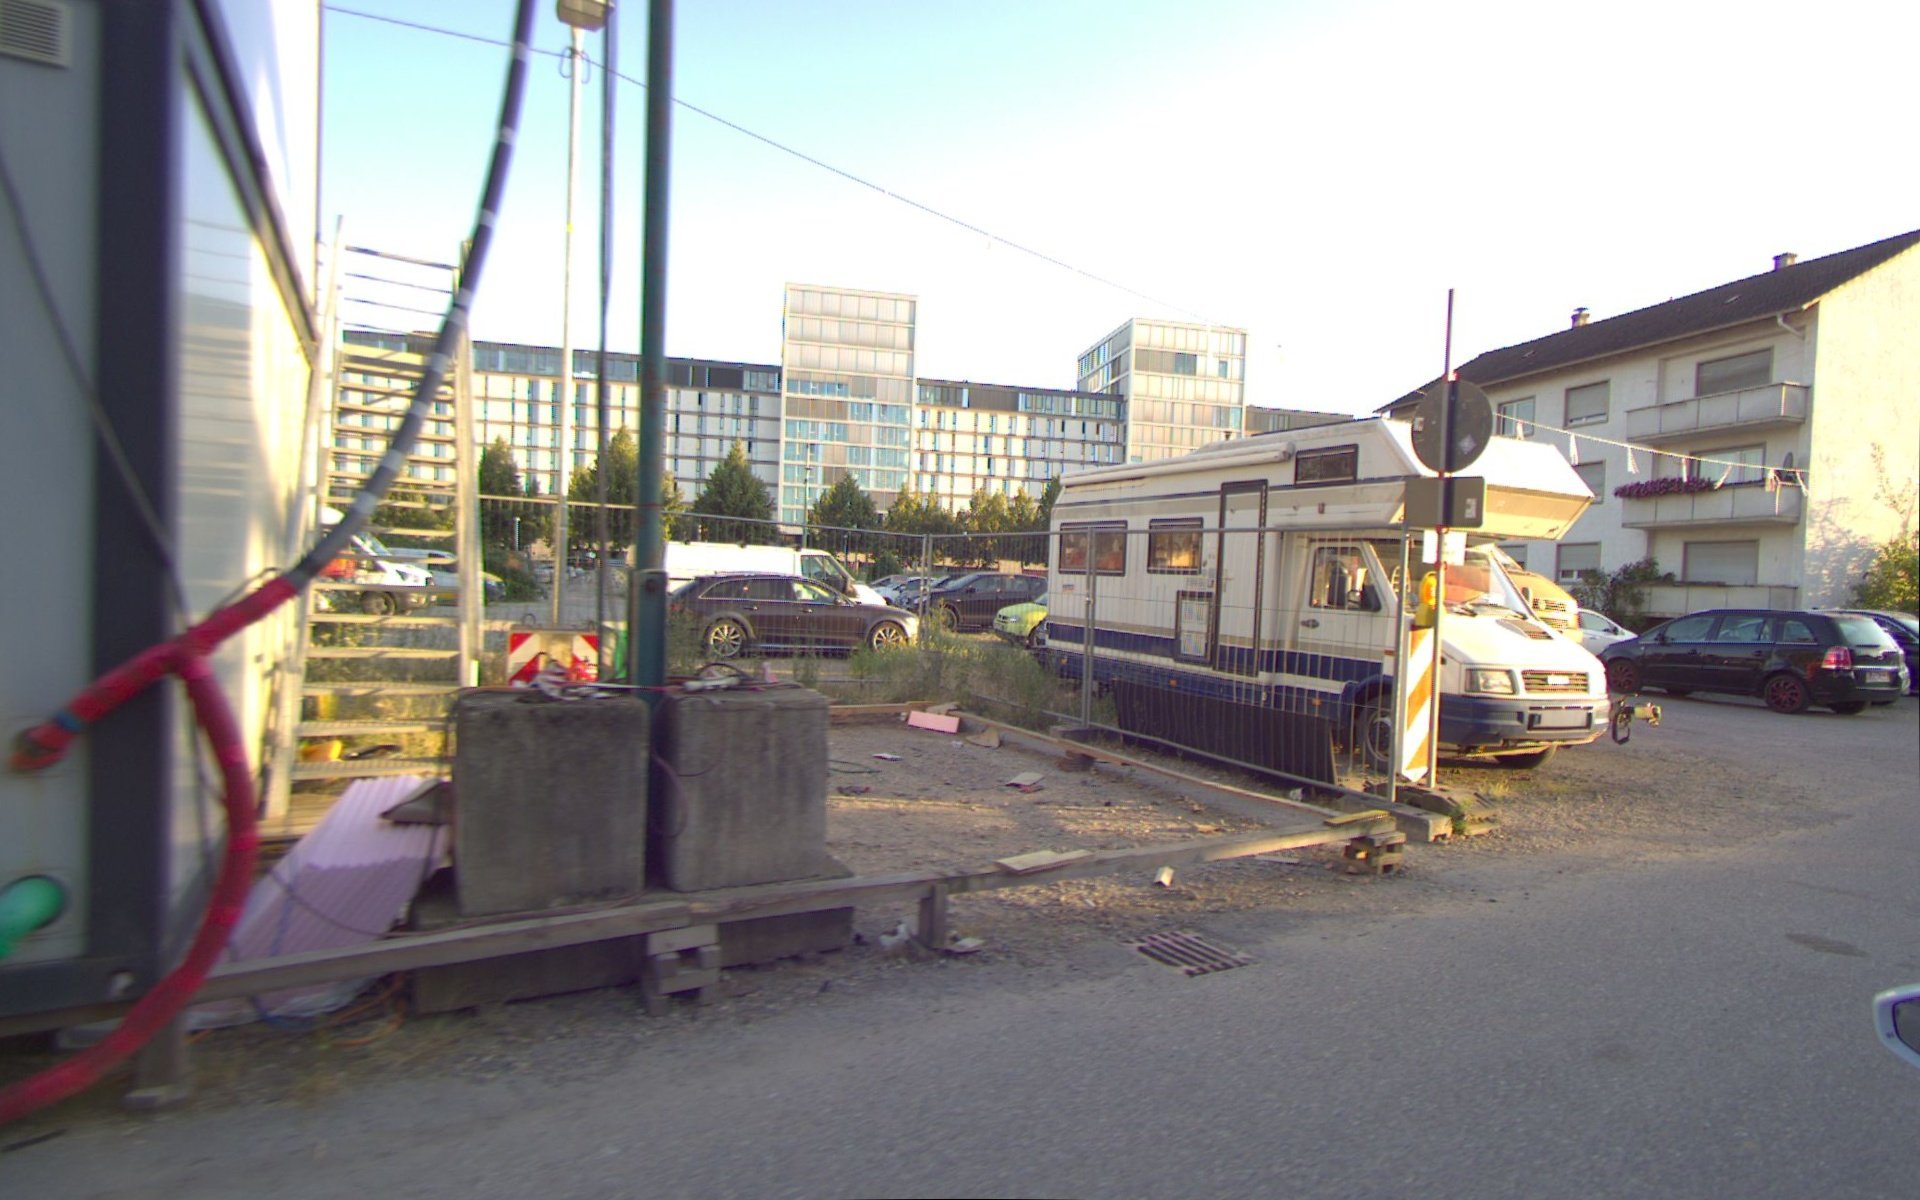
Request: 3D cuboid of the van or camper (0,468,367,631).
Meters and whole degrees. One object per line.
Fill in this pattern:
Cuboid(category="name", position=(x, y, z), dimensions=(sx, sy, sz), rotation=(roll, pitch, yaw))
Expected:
Cuboid(category="van or camper", position=(-15.360, -0.901, 20.148), dimensions=(5.727, 2.807, 2.247), rotation=(2, 1, -28))

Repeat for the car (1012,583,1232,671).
Cuboid(category="car", position=(3.183, 0.529, 19.779), dimensions=(3.885, 1.543, 1.838), rotation=(2, 1, -25))

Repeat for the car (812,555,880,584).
Cuboid(category="car", position=(-6.984, -1.858, 61.519), dimensions=(3.873, 1.560, 1.658), rotation=(2, 1, -15))

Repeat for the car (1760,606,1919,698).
Cuboid(category="car", position=(18.510, 1.005, 19.655), dimensions=(1.797, 1.650, 4.075), rotation=(1, 1, -26))

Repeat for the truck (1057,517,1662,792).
Cuboid(category="truck", position=(3.619, 0.354, 10.774), dimensions=(2.325, 2.070, 5.991), rotation=(2, 1, -26))

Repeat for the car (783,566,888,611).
Cuboid(category="car", position=(-5.850, -0.536, 47.234), dimensions=(4.751, 1.867, 1.681), rotation=(2, 1, -10))

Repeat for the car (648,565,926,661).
Cuboid(category="car", position=(-3.152, 0.180, 18.239), dimensions=(4.748, 1.589, 1.841), rotation=(0, 2, -20))

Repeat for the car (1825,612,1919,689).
Cuboid(category="car", position=(20.878, 1.133, 20.996), dimensions=(1.618, 1.536, 3.920), rotation=(3, 1, -20))

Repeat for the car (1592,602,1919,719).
Cuboid(category="car", position=(13.433, 0.949, 17.281), dimensions=(1.821, 1.641, 4.031), rotation=(2, 1, -20))

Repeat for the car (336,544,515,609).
Cuboid(category="car", position=(-18.298, -0.786, 34.665), dimensions=(5.021, 1.962, 2.051), rotation=(2, 1, -15))

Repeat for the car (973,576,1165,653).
Cuboid(category="car", position=(2.454, 0.332, 22.710), dimensions=(3.884, 1.543, 1.838), rotation=(2, 1, -24))

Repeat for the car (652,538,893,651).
Cuboid(category="car", position=(-3.908, -0.142, 20.885), dimensions=(4.745, 2.178, 1.842), rotation=(0, 2, -18))

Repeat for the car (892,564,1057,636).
Cuboid(category="car", position=(0.372, 0.007, 26.247), dimensions=(3.884, 1.691, 1.838), rotation=(2, 1, -24))

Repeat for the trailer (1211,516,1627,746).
Cuboid(category="trailer", position=(5.747, 0.285, 13.410), dimensions=(2.104, 2.465, 4.781), rotation=(4, 1, -22))

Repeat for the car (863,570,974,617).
Cuboid(category="car", position=(-1.570, -0.262, 37.718), dimensions=(3.873, 1.560, 1.658), rotation=(2, 1, -15))

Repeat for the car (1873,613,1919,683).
Cuboid(category="car", position=(23.667, 1.194, 22.889), dimensions=(1.618, 1.601, 3.920), rotation=(1, 1, -19))

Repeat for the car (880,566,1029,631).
Cuboid(category="car", position=(-0.169, -0.038, 29.061), dimensions=(3.884, 1.691, 1.838), rotation=(2, 1, -24))

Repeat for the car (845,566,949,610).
Cuboid(category="car", position=(-2.526, -0.492, 40.196), dimensions=(3.873, 1.560, 1.658), rotation=(2, 1, -15))

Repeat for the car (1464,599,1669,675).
Cuboid(category="car", position=(14.196, 0.862, 23.556), dimensions=(4.085, 1.543, 1.842), rotation=(2, 1, -18))

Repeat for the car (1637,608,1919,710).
Cuboid(category="car", position=(15.531, 1.029, 19.229), dimensions=(1.781, 1.541, 3.920), rotation=(1, 3, -20))

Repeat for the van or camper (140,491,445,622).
Cuboid(category="van or camper", position=(-15.842, -0.971, 24.261), dimensions=(5.655, 2.744, 2.202), rotation=(2, 1, -17))
